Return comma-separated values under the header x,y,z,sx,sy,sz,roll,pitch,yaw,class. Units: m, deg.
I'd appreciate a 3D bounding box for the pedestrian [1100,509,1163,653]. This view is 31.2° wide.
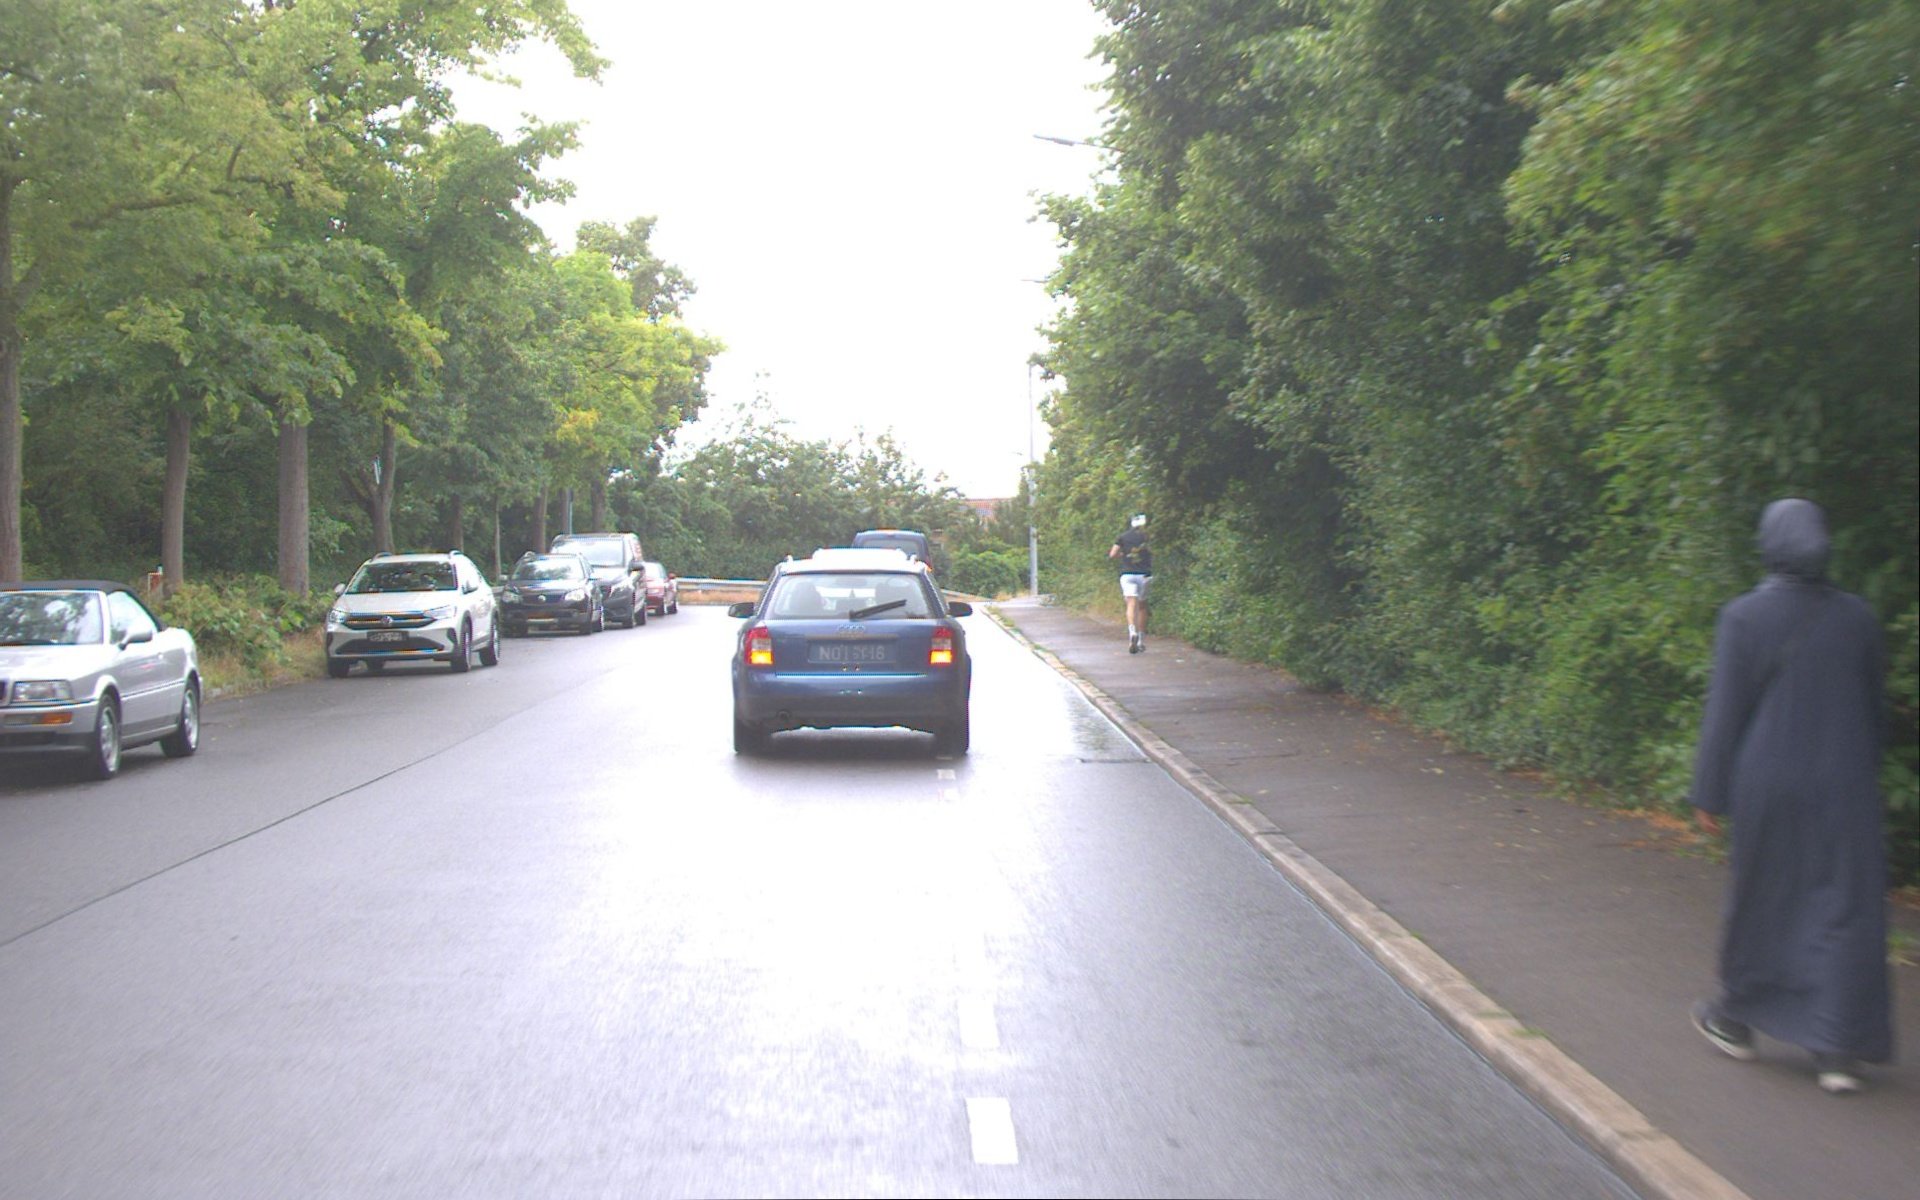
x,y,z,sx,sy,sz,roll,pitch,yaw,class
2.233,-0.253,44.845,0.716,1.828,1.021,-3,1,1,pedestrian

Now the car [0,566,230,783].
x,y,z,sx,sy,sz,roll,pitch,yaw,class
-6.555,0.481,24.584,1.754,1.397,4.419,-1,0,-1,car

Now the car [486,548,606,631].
x,y,z,sx,sy,sz,roll,pitch,yaw,class
-7.644,-0.204,63.842,1.797,1.432,4.256,-1,0,-2,car

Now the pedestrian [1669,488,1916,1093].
x,y,z,sx,sy,sz,roll,pitch,yaw,class
2.210,0.494,9.164,0.552,1.561,0.487,-2,1,9,pedestrian

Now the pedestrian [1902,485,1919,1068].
x,y,z,sx,sy,sz,roll,pitch,yaw,class
2.848,0.474,9.067,0.595,1.561,0.669,-1,1,6,pedestrian

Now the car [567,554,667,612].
x,y,z,sx,sy,sz,roll,pitch,yaw,class
-8.041,-0.407,80.892,1.789,1.292,4.325,-1,0,2,car

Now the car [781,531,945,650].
x,y,z,sx,sy,sz,roll,pitch,yaw,class
-1.165,-0.127,43.012,1.891,1.384,4.000,-1,0,0,car

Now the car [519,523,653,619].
x,y,z,sx,sy,sz,roll,pitch,yaw,class
-7.546,-0.591,69.817,2.083,1.813,5.381,-1,0,0,car

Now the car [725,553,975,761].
x,y,z,sx,sy,sz,roll,pitch,yaw,class
-0.830,0.376,26.120,1.747,1.403,4.001,0,1,-2,car

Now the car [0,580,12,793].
x,y,z,sx,sy,sz,roll,pitch,yaw,class
-6.820,0.580,20.131,1.595,1.357,4.002,-1,0,-3,car

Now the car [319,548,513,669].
x,y,z,sx,sy,sz,roll,pitch,yaw,class
-6.917,0.088,44.068,1.689,1.432,4.256,-1,0,1,car

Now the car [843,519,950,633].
x,y,z,sx,sy,sz,roll,pitch,yaw,class
-1.172,-0.452,61.851,1.788,1.947,4.001,-1,1,-2,car
